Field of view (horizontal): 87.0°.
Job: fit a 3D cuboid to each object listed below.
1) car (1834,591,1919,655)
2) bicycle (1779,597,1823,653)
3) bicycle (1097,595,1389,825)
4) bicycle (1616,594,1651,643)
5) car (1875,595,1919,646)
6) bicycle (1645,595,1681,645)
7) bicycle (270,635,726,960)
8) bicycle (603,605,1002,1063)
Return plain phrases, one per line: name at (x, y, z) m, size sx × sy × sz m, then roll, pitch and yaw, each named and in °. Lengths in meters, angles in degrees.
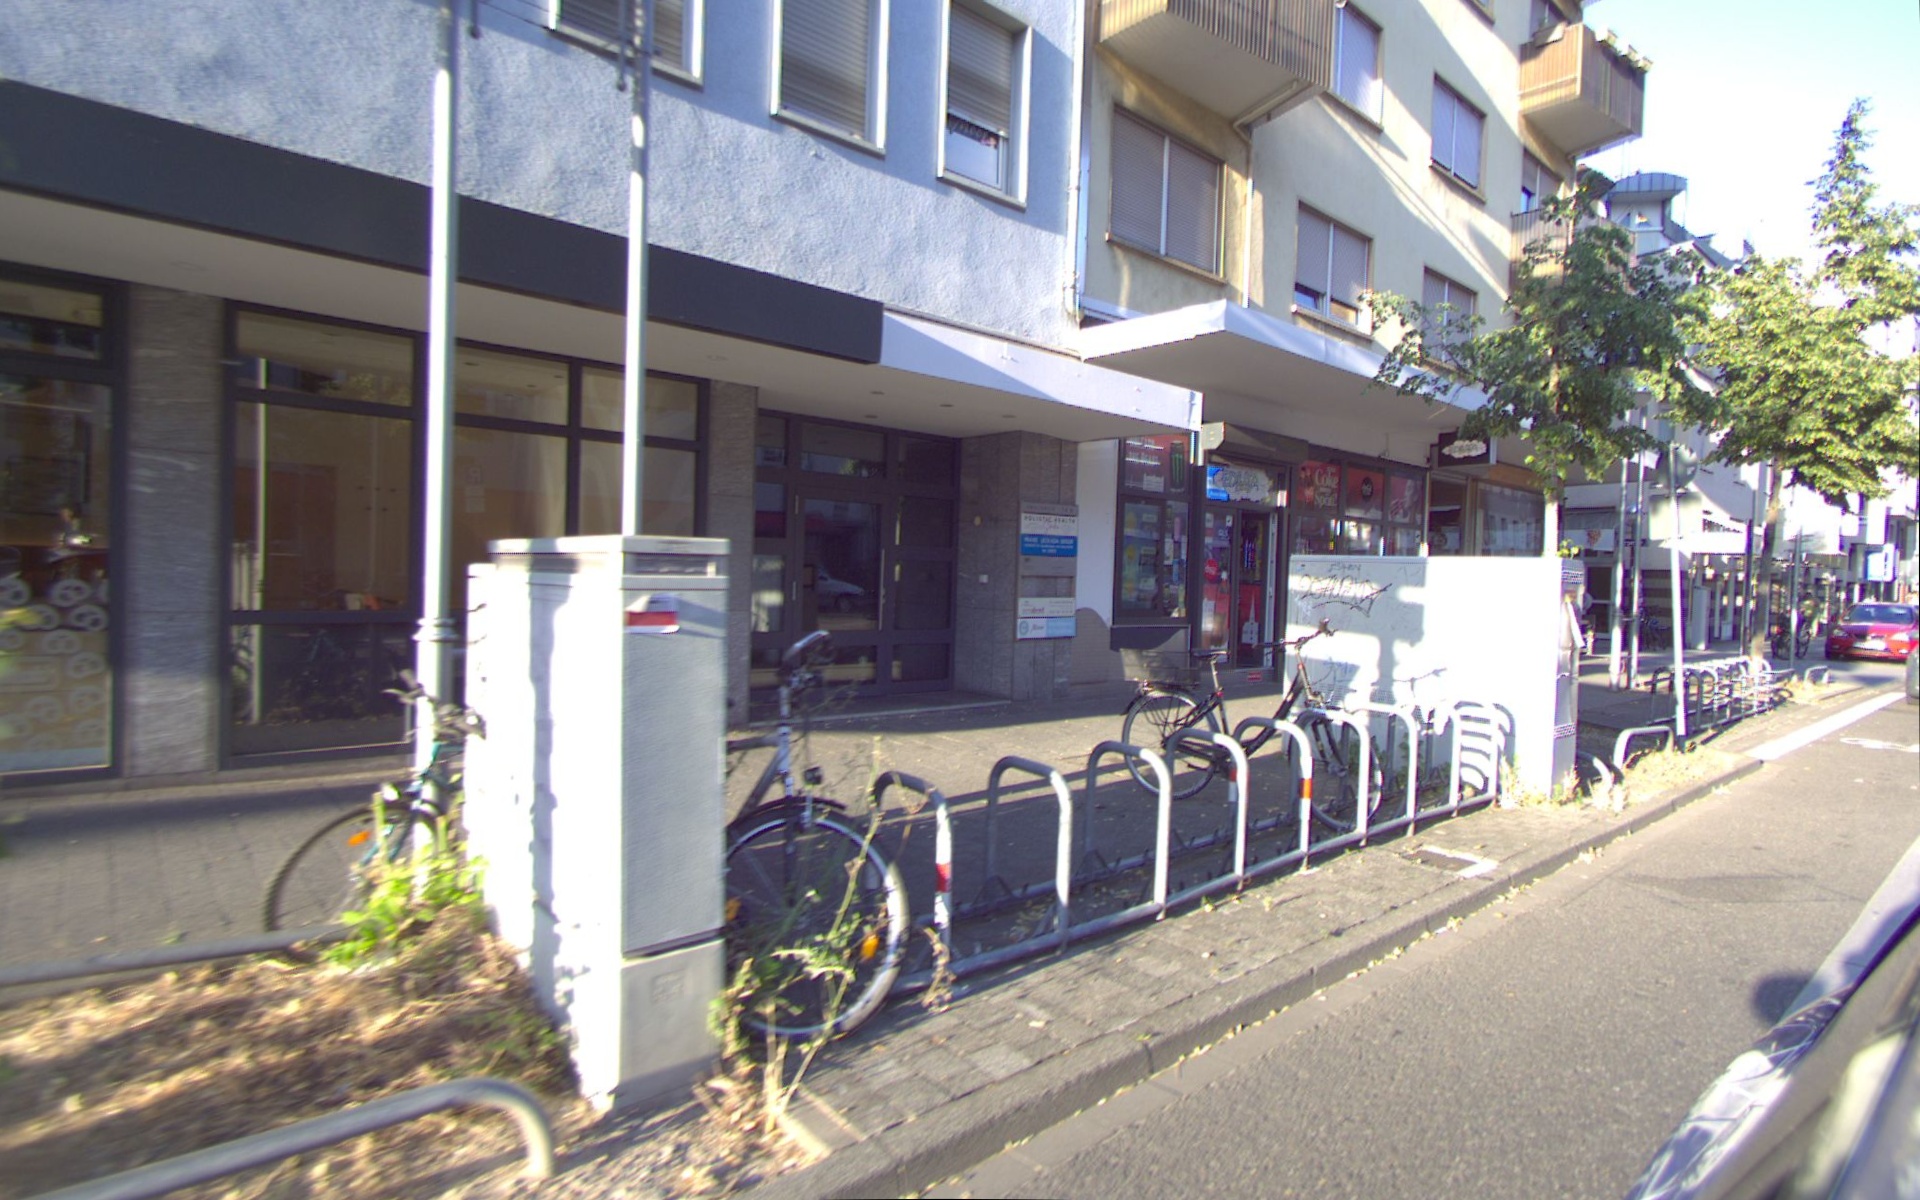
car at (22.686, 0.517, 24.618) m, size 3.930 × 1.446 × 1.652 m, roll 0°, pitch 0°, yaw -41°
bicycle at (19.925, 0.565, 23.971) m, size 1.683 × 1.253 × 0.504 m, roll -1°, pitch 3°, yaw -42°
bicycle at (1.703, 0.601, 6.244) m, size 1.653 × 1.209 × 0.487 m, roll 2°, pitch 1°, yaw 37°
bicycle at (16.809, 0.449, 25.238) m, size 0.331 × 1.144 × 1.980 m, roll 2°, pitch 2°, yaw 45°
car at (27.970, 0.560, 29.504) m, size 3.632 × 1.411 × 1.612 m, roll 0°, pitch 0°, yaw -43°
bicycle at (17.233, 0.474, 24.795) m, size 0.331 × 1.143 × 1.980 m, roll 4°, pitch 4°, yaw 45°
bicycle at (-1.787, 0.690, 4.132) m, size 0.403 × 1.022 × 1.644 m, roll 5°, pitch 3°, yaw 43°
bicycle at (-0.635, 0.651, 3.549) m, size 1.657 × 1.209 × 0.470 m, roll 2°, pitch 1°, yaw 45°
